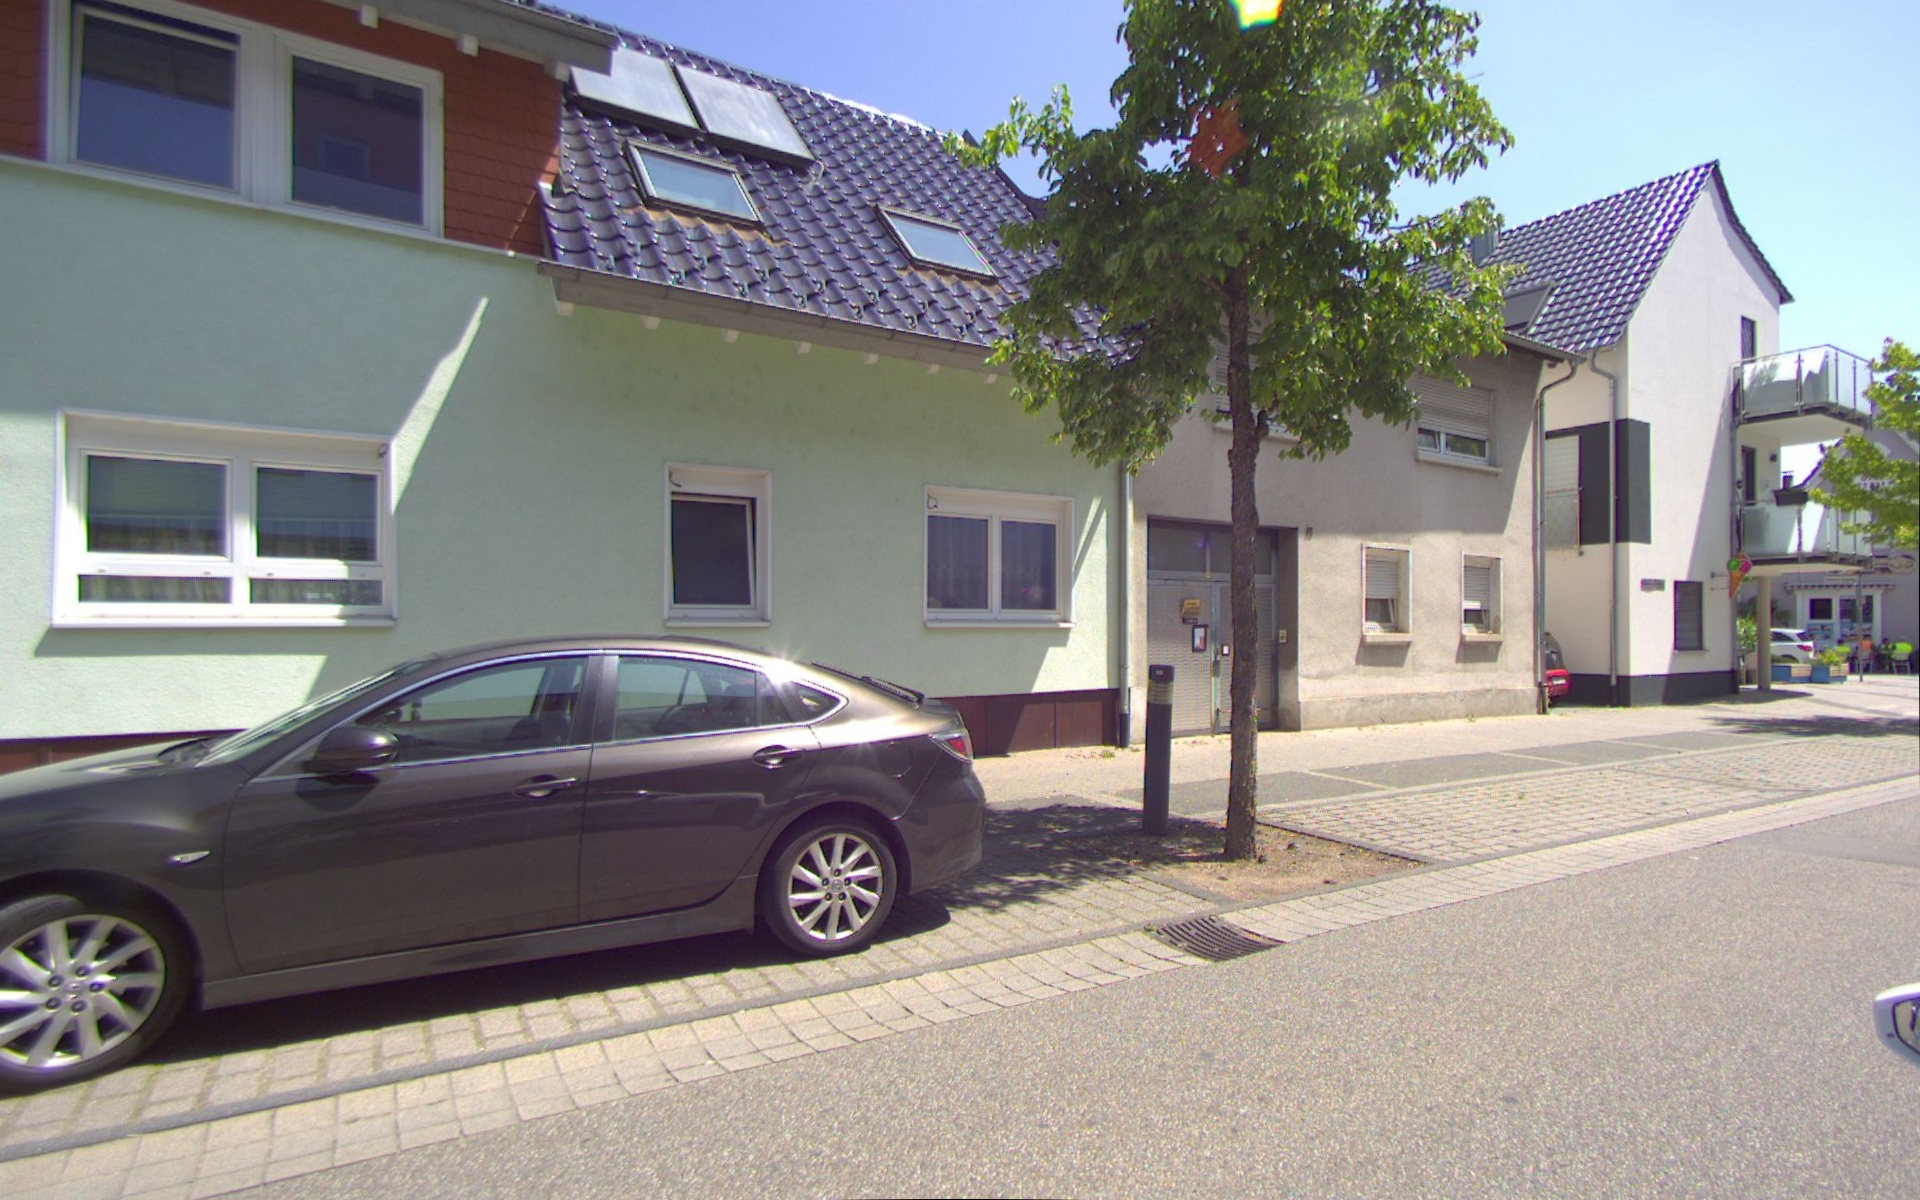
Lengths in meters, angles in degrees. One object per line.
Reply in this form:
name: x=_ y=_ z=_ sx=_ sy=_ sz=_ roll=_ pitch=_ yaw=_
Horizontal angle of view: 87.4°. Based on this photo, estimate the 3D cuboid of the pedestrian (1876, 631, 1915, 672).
pedestrian: x=31.292 y=1.702 z=33.597 sx=0.623 sy=1.306 sz=0.789 roll=2 pitch=1 yaw=15

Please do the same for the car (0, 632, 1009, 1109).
car: x=-2.098 y=0.882 z=4.563 sx=4.484 sy=1.456 sz=1.653 roll=1 pitch=-1 yaw=-30

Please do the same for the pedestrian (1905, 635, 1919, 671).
pedestrian: x=32.439 y=1.784 z=33.942 sx=0.690 sy=1.194 sz=0.618 roll=1 pitch=-1 yaw=-36

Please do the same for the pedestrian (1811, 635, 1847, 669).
pedestrian: x=30.088 y=1.793 z=34.784 sx=0.623 sy=1.131 sz=0.789 roll=2 pitch=1 yaw=15

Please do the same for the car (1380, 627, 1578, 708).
car: x=10.115 y=1.257 z=19.737 sx=1.572 sy=1.462 sz=3.092 roll=1 pitch=-2 yaw=-36

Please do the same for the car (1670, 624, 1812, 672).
car: x=27.588 y=1.649 z=35.539 sx=3.873 sy=1.566 sz=1.509 roll=-1 pitch=0 yaw=43

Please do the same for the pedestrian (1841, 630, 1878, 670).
pedestrian: x=30.948 y=1.710 z=34.560 sx=0.623 sy=1.306 sz=0.789 roll=2 pitch=1 yaw=15
